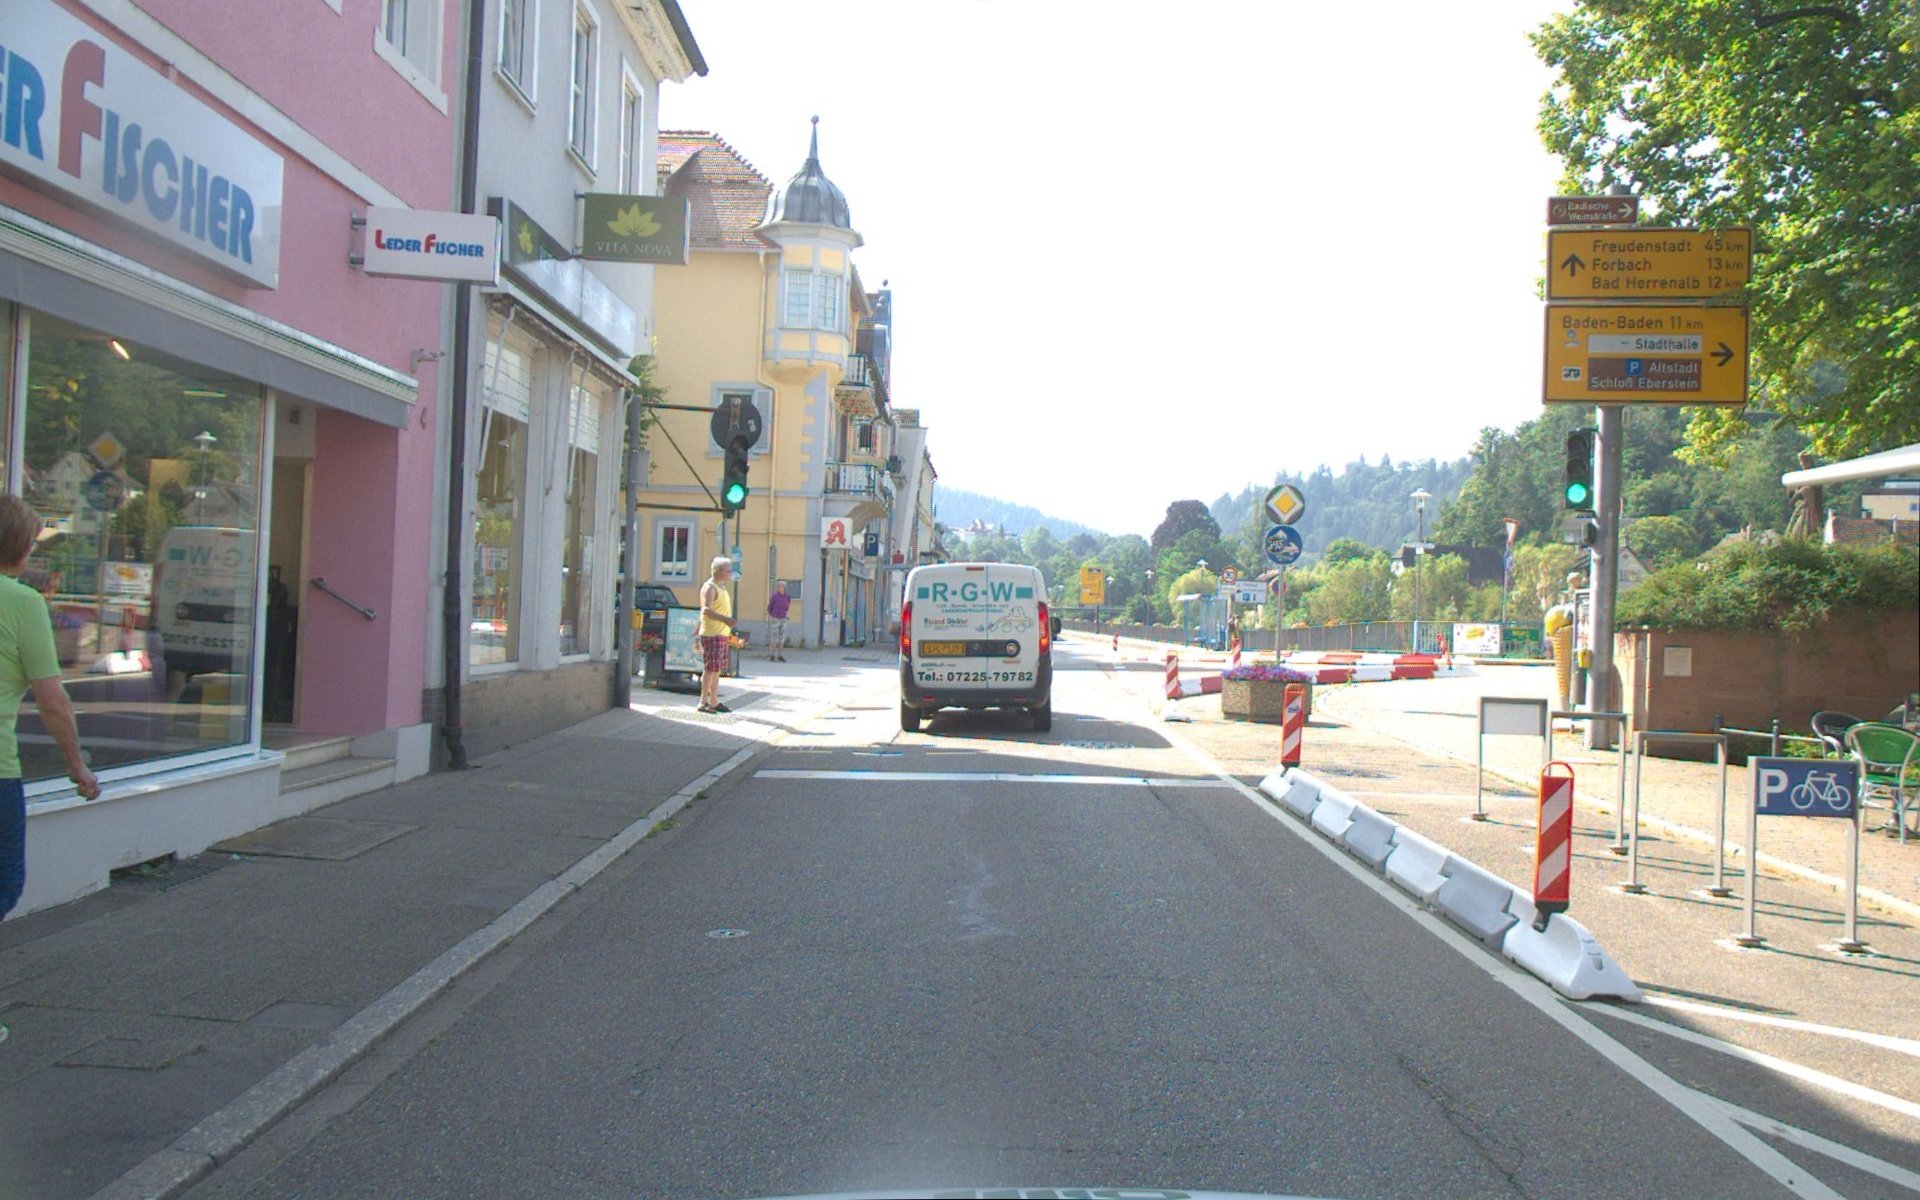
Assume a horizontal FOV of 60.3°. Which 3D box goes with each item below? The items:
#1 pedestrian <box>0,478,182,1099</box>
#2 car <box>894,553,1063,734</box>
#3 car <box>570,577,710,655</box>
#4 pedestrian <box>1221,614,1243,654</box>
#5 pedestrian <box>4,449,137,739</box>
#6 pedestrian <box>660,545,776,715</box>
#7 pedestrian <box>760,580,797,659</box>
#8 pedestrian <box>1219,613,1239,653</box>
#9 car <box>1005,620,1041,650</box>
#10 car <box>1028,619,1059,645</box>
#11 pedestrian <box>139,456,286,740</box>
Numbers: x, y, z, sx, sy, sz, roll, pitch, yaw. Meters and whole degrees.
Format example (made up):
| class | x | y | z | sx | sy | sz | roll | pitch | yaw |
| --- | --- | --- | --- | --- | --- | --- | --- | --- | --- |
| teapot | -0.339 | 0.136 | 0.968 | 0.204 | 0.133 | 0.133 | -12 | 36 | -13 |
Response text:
| class | x | y | z | sx | sy | sz | roll | pitch | yaw |
| --- | --- | --- | --- | --- | --- | --- | --- | --- | --- |
| pedestrian | -2.892 | 0.484 | 4.754 | 0.769 | 1.660 | 0.859 | 4 | 0 | 2 |
| car | 0.295 | 0.468 | 20.156 | 1.806 | 1.939 | 4.316 | -1 | 0 | 3 |
| car | -7.612 | 0.349 | 39.101 | 1.899 | 1.569 | 3.915 | 3 | 1 | -33 |
| pedestrian | 11.925 | 1.477 | 72.487 | 0.848 | 1.736 | 0.777 | 2 | -1 | 3 |
| pedestrian | -5.545 | -0.031 | 10.336 | 0.565 | 1.752 | 0.568 | 1 | 0 | -15 |
| pedestrian | -2.840 | 0.347 | 19.514 | 0.997 | 1.846 | 0.908 | 6 | -1 | 3 |
| pedestrian | -4.076 | 0.438 | 37.216 | 0.664 | 1.744 | 0.617 | 2 | 0 | 2 |
| pedestrian | 11.875 | 1.452 | 73.140 | 0.773 | 1.736 | 0.492 | 2 | -1 | 3 |
| car | 3.714 | 2.054 | 97.904 | 1.952 | 1.691 | 4.000 | 2 | 0 | 1 |
| car | 5.745 | 2.184 | 114.619 | 1.952 | 1.691 | 4.000 | 2 | 0 | 1 |
| pedestrian | -4.816 | -0.011 | 10.655 | 0.707 | 1.752 | 0.666 | 2 | 0 | -36 |
